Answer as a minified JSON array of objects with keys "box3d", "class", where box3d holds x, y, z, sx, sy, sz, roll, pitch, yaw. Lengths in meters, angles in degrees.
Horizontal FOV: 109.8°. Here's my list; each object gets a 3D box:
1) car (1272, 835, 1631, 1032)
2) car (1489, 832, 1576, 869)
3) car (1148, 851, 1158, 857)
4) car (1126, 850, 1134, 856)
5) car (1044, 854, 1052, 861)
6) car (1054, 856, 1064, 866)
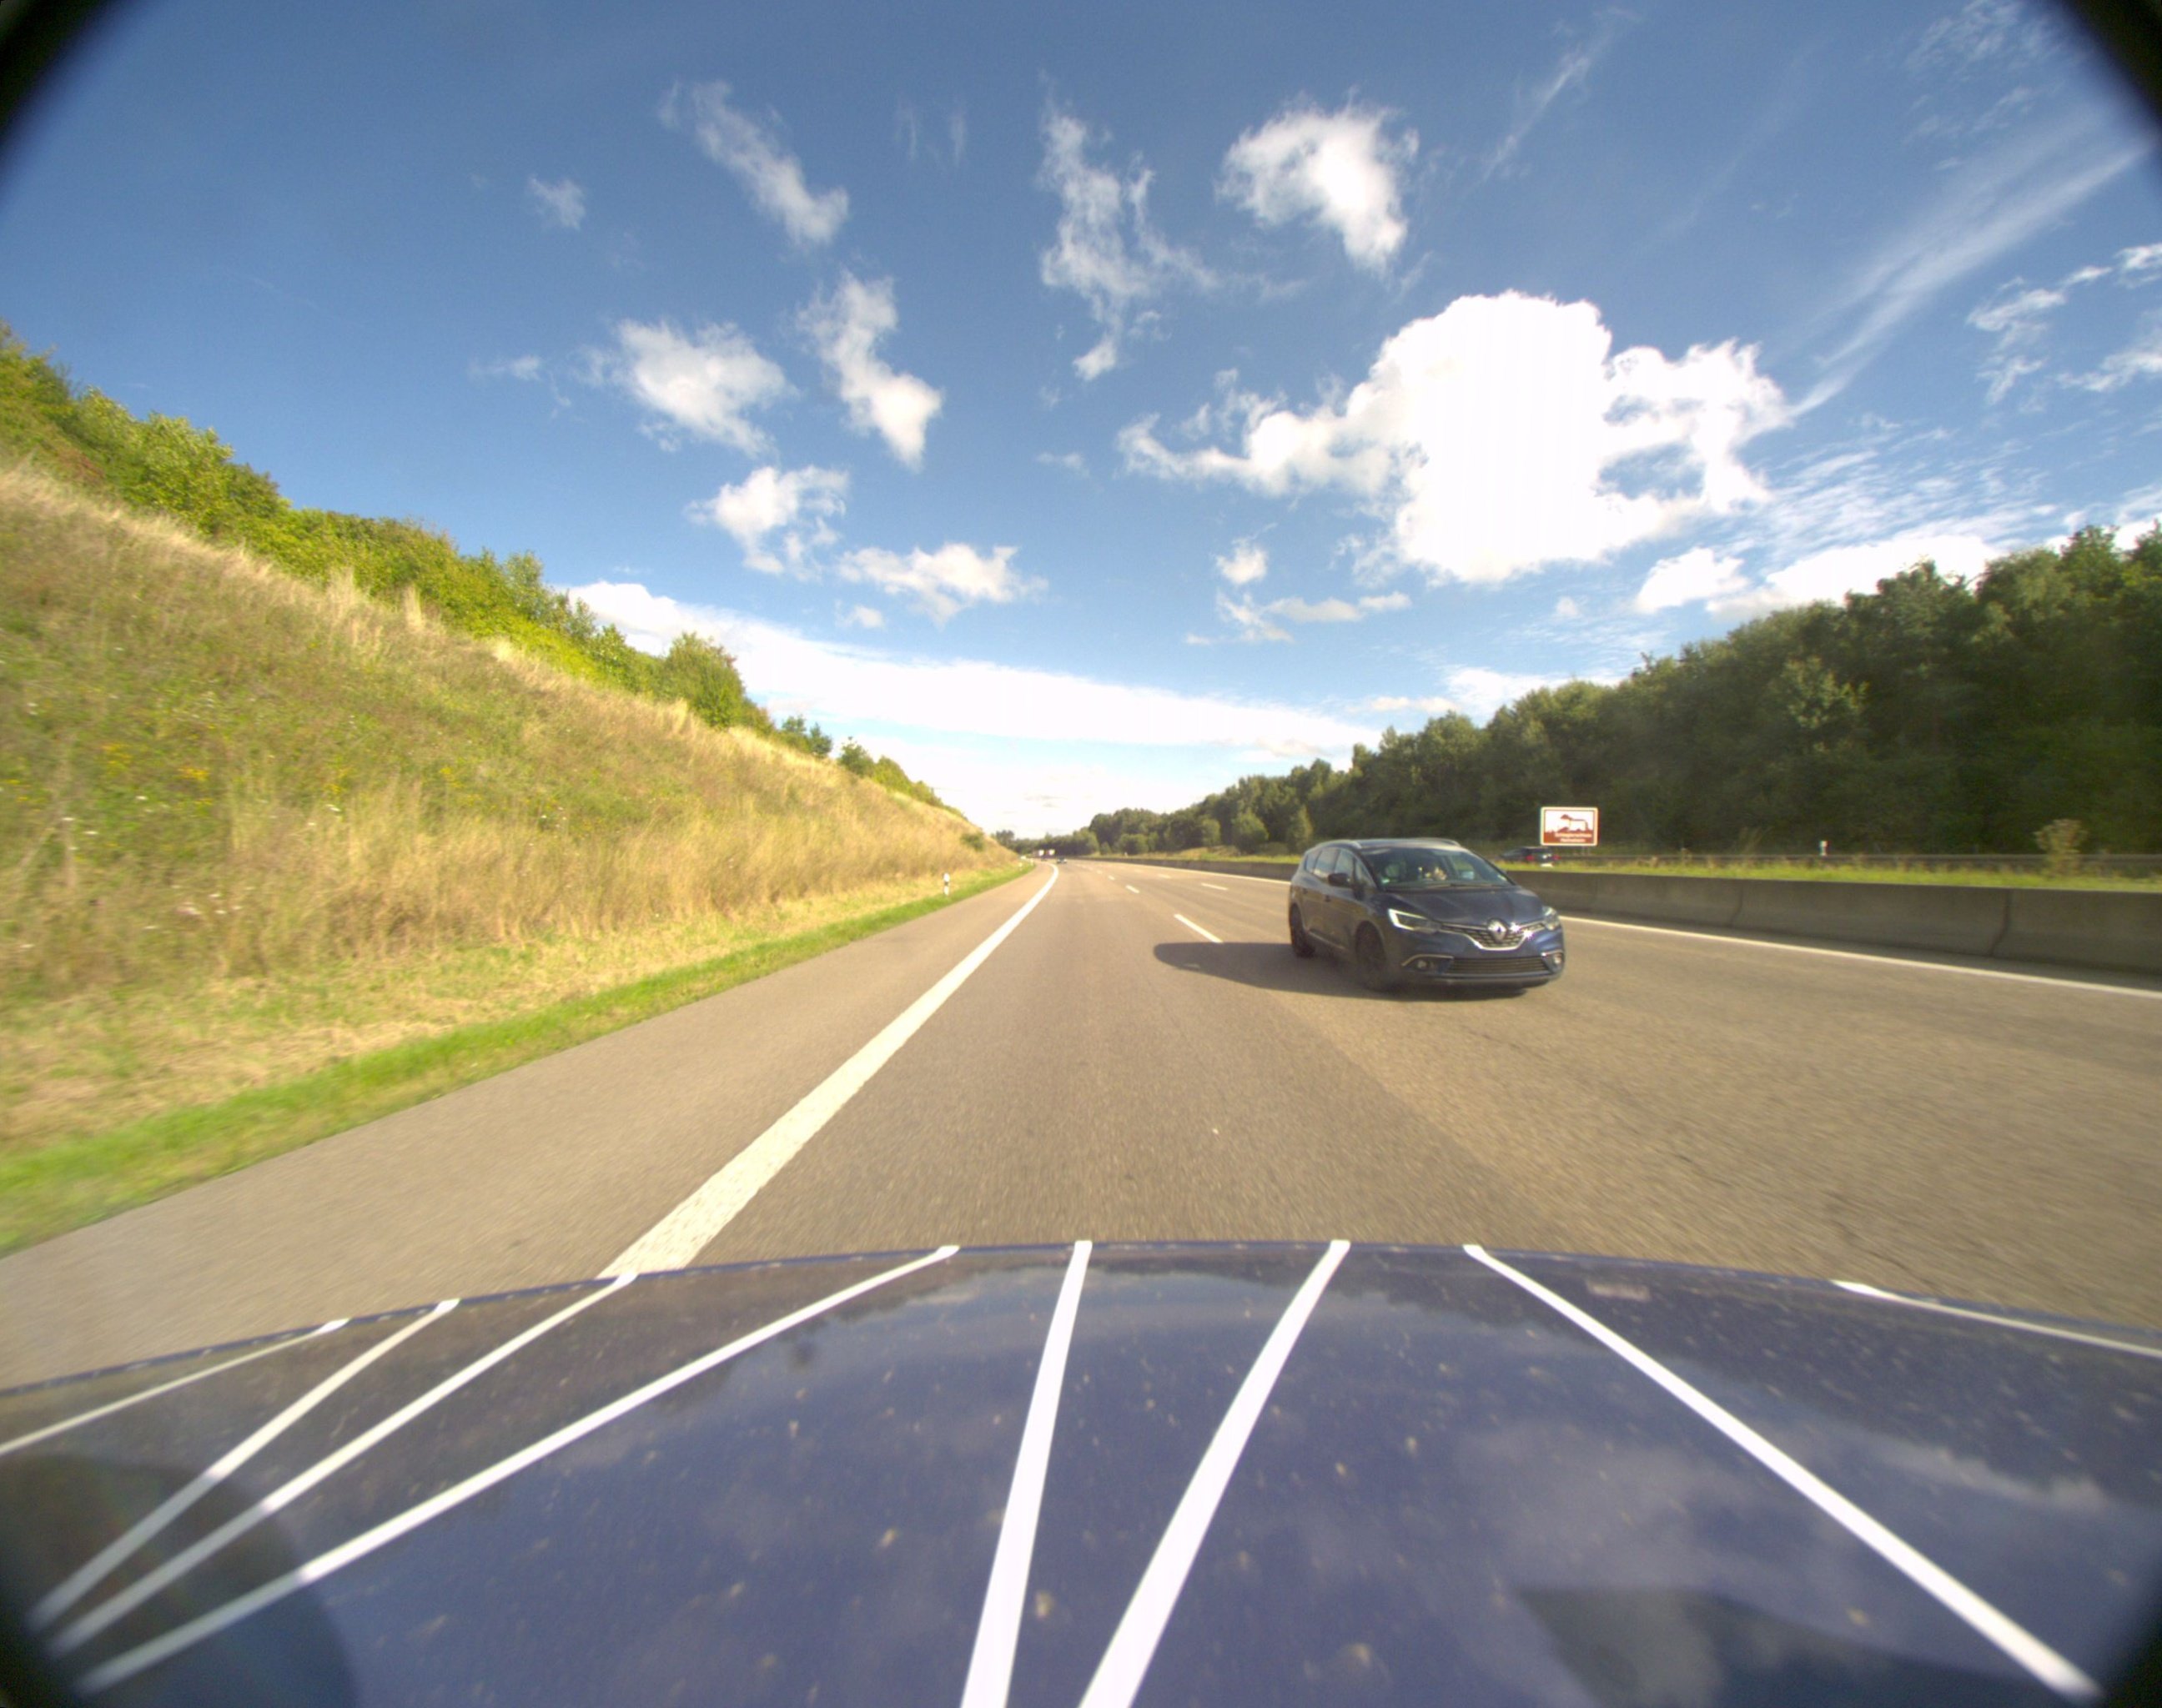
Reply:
[{"box3d":[3.916,0.705,9.109,1.999,1.697,4.528,-2,0,-1],"class":"car"},{"box3d":[22.797,-0.166,38.554,1.998,1.737,4.049,-2,0,0],"class":"car"},{"box3d":[17.434,-0.032,183.418,1.911,1.444,3.999,-2,0,-1],"class":"car"},{"box3d":[14.372,-0.305,221.679,1.999,1.790,3.999,-2,0,-1],"class":"car"},{"box3d":[-9.932,0.935,227.051,2.000,2.002,3.997,-2,1,-7],"class":"car"},{"box3d":[-4.479,1.432,154.025,1.999,1.827,3.998,-2,1,-3],"class":"car"}]
